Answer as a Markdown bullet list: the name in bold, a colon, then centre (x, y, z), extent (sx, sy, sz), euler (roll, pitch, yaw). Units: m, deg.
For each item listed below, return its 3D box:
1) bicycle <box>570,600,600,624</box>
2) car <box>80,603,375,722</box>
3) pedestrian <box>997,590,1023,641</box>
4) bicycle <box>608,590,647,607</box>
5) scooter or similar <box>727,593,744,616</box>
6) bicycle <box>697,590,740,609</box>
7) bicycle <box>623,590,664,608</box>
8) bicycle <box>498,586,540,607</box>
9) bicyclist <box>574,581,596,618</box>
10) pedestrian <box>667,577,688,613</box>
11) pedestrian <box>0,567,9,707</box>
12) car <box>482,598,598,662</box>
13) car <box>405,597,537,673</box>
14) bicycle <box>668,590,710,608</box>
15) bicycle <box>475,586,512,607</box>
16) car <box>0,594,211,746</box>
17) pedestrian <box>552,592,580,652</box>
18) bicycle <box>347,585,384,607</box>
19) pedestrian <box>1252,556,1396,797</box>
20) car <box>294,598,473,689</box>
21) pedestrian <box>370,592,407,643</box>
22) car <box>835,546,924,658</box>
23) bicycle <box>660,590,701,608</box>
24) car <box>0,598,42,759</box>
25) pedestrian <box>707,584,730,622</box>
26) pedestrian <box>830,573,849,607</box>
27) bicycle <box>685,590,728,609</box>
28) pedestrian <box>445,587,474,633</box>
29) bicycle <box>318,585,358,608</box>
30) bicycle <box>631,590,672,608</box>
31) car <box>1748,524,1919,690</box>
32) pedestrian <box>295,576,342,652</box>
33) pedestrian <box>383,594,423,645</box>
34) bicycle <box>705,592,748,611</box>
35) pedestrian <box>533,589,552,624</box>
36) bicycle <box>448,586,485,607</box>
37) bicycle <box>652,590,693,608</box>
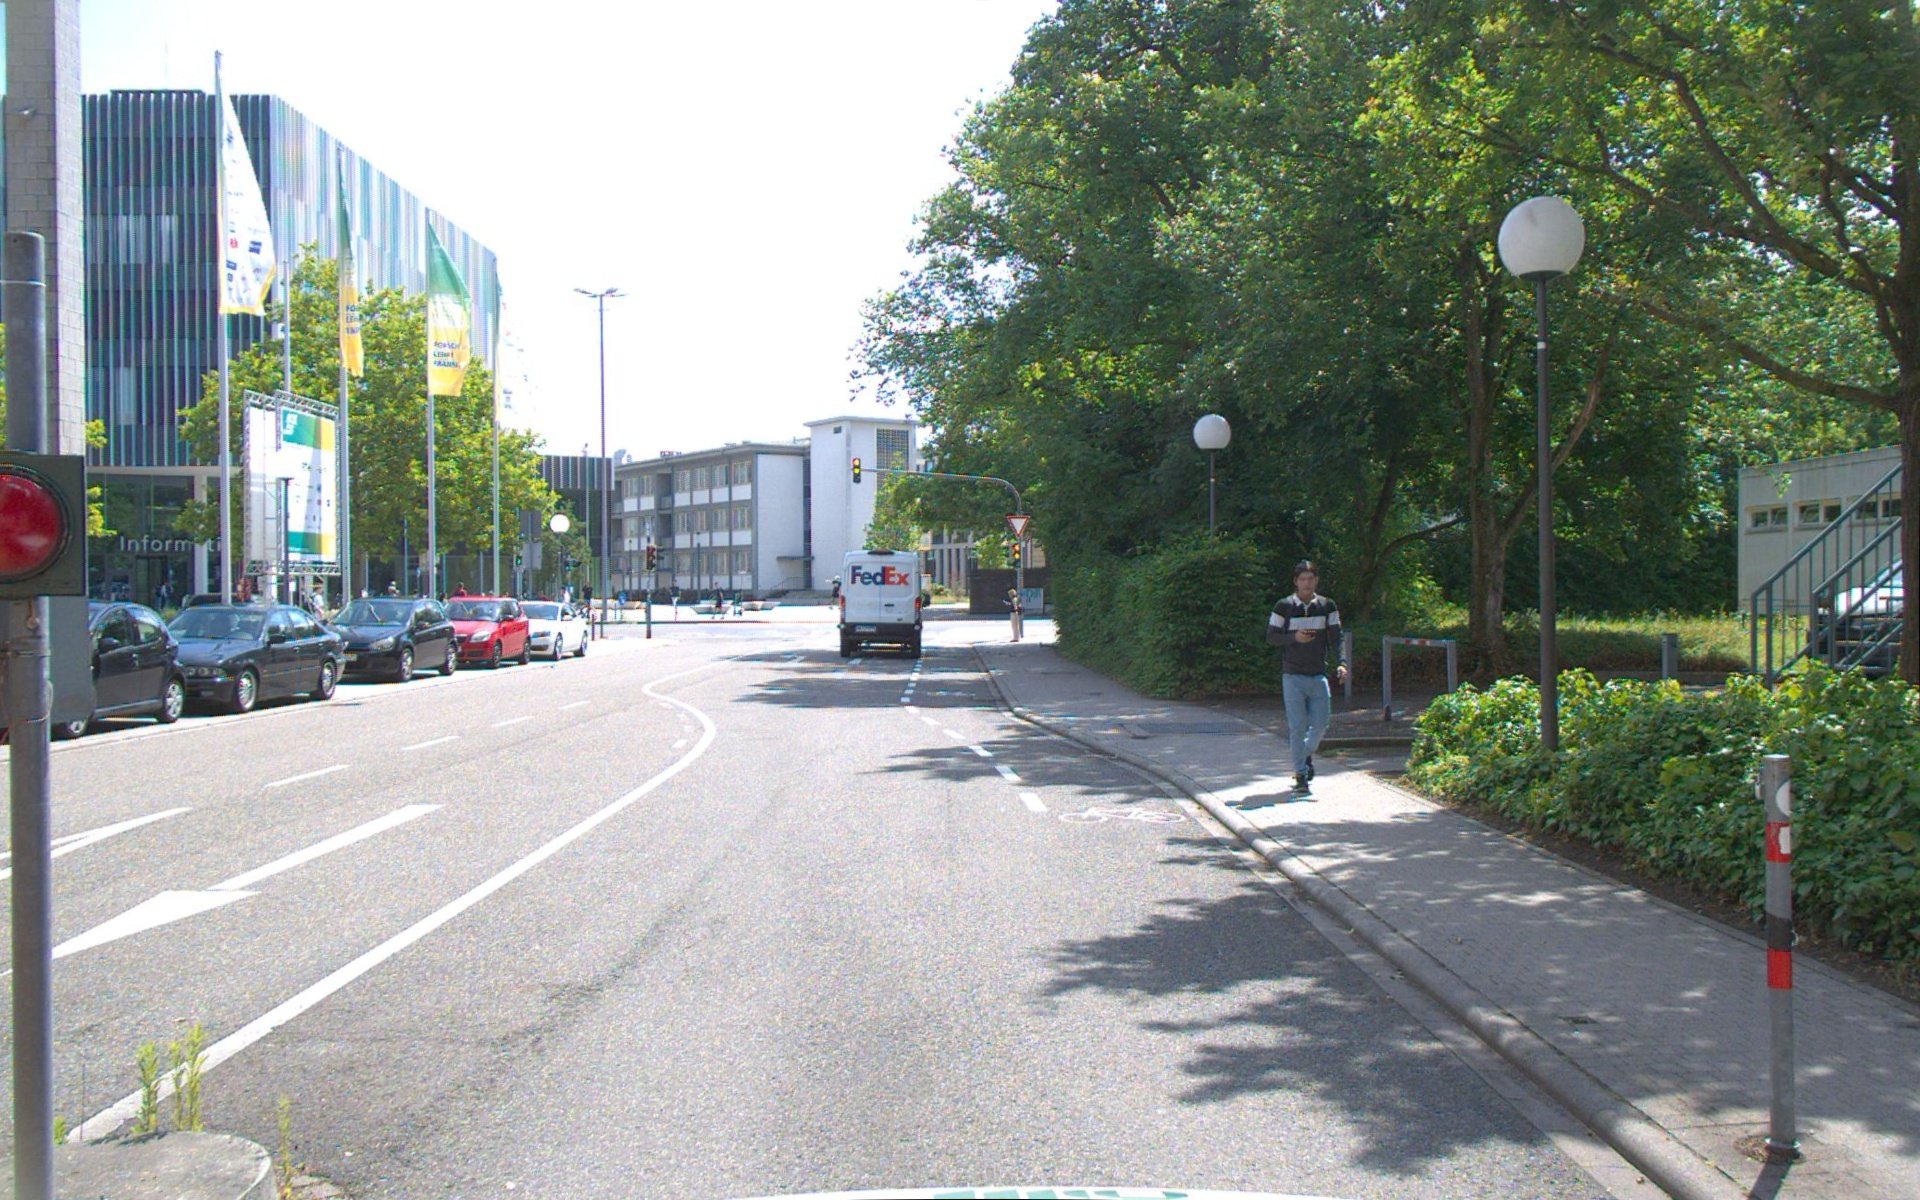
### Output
- **bicycle**: centre (-18.828, 0.591, 83.078), extent (0.754, 1.142, 2.028), euler (-1, 0, 9)
- **car**: centre (-10.113, 0.793, 23.349), extent (1.821, 1.402, 5.017), euler (2, 0, 1)
- **pedestrian**: centre (1.598, 0.479, 52.663), extent (0.717, 1.603, 0.775), euler (1, 0, -6)
- **bicycle**: centre (-26.681, -0.114, 132.833), extent (2.935, 1.387, 1.102), euler (0, 0, -39)
- **scooter or similar**: centre (-11.779, 0.215, 86.639), extent (0.704, 1.199, 2.718), euler (0, 0, -11)
- **bicycle**: centre (-17.522, -0.014, 120.001), extent (2.935, 1.387, 1.102), euler (0, 0, -39)
- **bicycle**: centre (-24.841, -0.082, 129.841), extent (2.935, 1.387, 1.102), euler (0, 0, -39)
- **bicycle**: centre (-26.632, -0.211, 99.851), extent (2.901, 1.259, 1.193), euler (0, 0, 44)
- **bicyclist**: centre (-18.819, -0.028, 83.051), extent (0.772, 1.849, 1.000), euler (-1, 0, 9)
- **pedestrian**: centre (-15.236, -0.279, 89.256), extent (0.687, 1.887, 1.400), euler (-1, 2, 8)
- **pedestrian**: centre (-14.489, 0.545, 23.802), extent (0.965, 2.049, 1.164), euler (0, 0, -5)
- **car**: centre (-10.350, 0.708, 41.091), extent (1.642, 1.419, 4.662), euler (2, 0, 0)
- **car**: centre (-10.506, 0.713, 35.797), extent (1.642, 1.493, 3.911), euler (2, 0, 0)
- **bicycle**: centre (-20.231, -0.076, 123.400), extent (2.935, 1.387, 1.102), euler (0, 0, -39)
- **bicycle**: centre (-27.993, -0.196, 99.228), extent (1.188, 1.259, 2.911), euler (0, 0, -38)
- **car**: centre (-10.141, 0.711, 18.762), extent (1.605, 1.493, 3.706), euler (2, 0, -1)
- **pedestrian**: centre (-12.493, 0.696, 52.475), extent (0.704, 1.892, 0.770), euler (0, 0, 1)
- **bicycle**: centre (-33.622, -0.228, 93.461), extent (1.188, 1.259, 2.913), euler (0, 0, -37)
- **pedestrian**: centre (2.688, 0.537, 12.341), extent (0.724, 1.704, 1.255), euler (0, 0, -4)
- **car**: centre (-10.463, 0.737, 30.363), extent (1.712, 1.493, 4.197), euler (2, 0, 1)
- **pedestrian**: centre (-21.371, 0.649, 61.828), extent (0.835, 1.909, 1.006), euler (0, 0, 22)
- **car**: centre (-1.950, 0.017, 41.715), extent (2.053, 2.611, 5.601), euler (-1, 1, -1)
- **bicycle**: centre (-21.019, -0.081, 124.444), extent (2.935, 1.387, 1.102), euler (0, 0, -39)
- **car**: centre (-9.860, 0.725, 13.773), extent (1.822, 1.493, 4.718), euler (2, 0, -1)
- **pedestrian**: centre (-12.257, 0.155, 83.829), extent (1.059, 1.903, 0.832), euler (-1, 0, -2)
- **pedestrian**: centre (-6.896, -0.550, 94.448), extent (0.852, 1.922, 0.908), euler (0, 0, -20)
- **bicycle**: centre (-18.565, -0.023, 121.248), extent (2.935, 1.387, 1.258), euler (0, 0, -39)
- **pedestrian**: centre (-17.691, 0.343, 58.432), extent (0.754, 1.625, 0.798), euler (-1, 0, 1)
- **bicycle**: centre (-34.842, -0.195, 92.634), extent (1.363, 1.259, 2.913), euler (0, 0, -36)
- **bicycle**: centre (-23.940, -0.073, 128.371), extent (2.935, 1.387, 1.102), euler (0, 0, -39)
- **car**: centre (13.151, 0.066, 21.609), extent (4.726, 2.049, 2.062), euler (-1, 0, 0)
- **pedestrian**: centre (-16.085, 0.337, 41.493), extent (0.704, 1.883, 1.089), euler (1, 0, 3)
- **pedestrian**: centre (-20.517, 0.708, 60.929), extent (0.844, 1.850, 1.096), euler (0, 0, 23)
- **bicycle**: centre (-16.782, 0.101, 118.912), extent (2.935, 1.387, 1.102), euler (0, 0, -39)
- **pedestrian**: centre (-20.463, 0.318, 81.049), extent (0.738, 1.708, 0.755), euler (-1, 0, -4)
- **bicycle**: centre (-29.179, -0.203, 97.756), extent (1.188, 1.259, 2.912), euler (0, 0, -37)
- **bicycle**: centre (-21.787, -0.059, 125.485), extent (2.935, 1.387, 1.102), euler (0, 0, -39)
